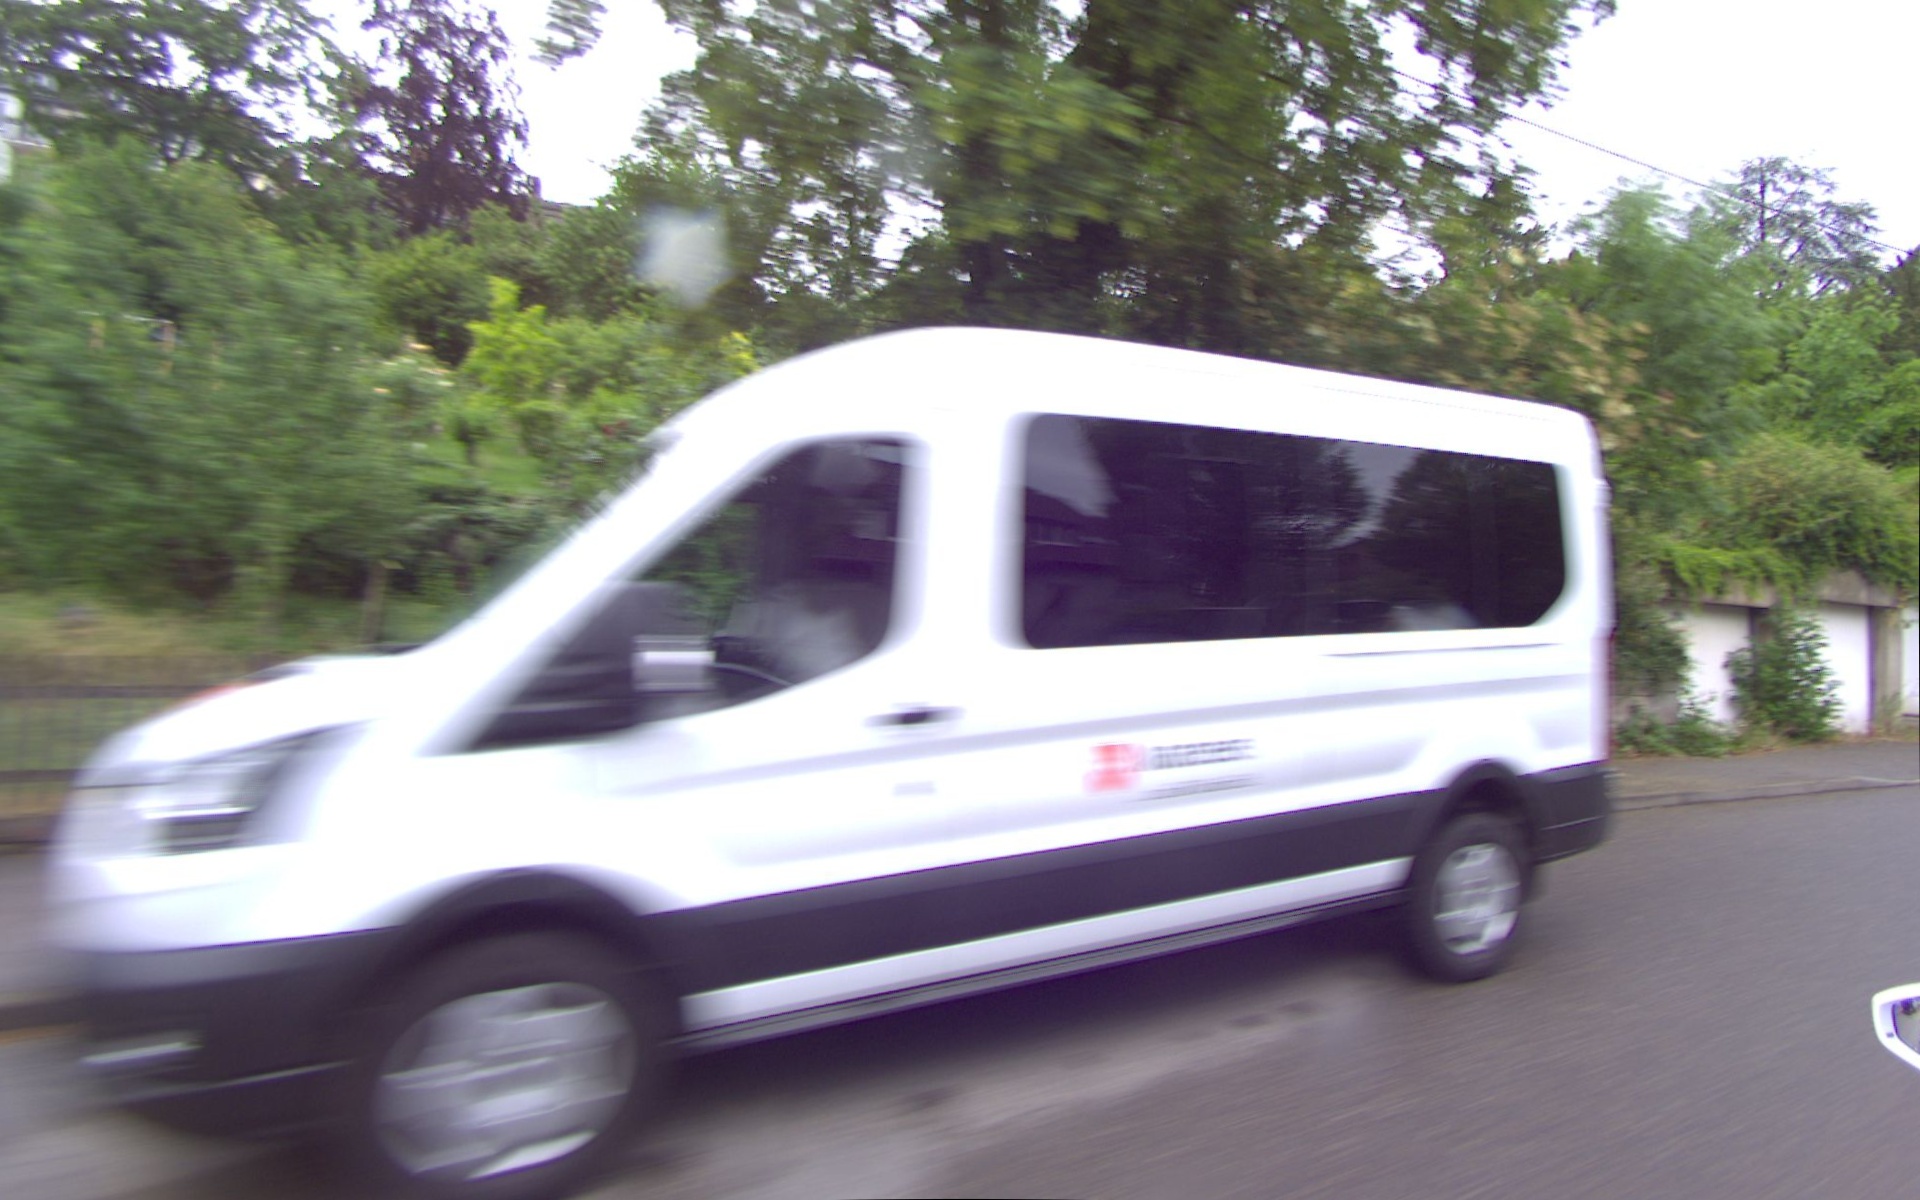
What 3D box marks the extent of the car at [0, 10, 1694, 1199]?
[{"bbox_3d":[0.321,0.254,4.227,6.020,2.584,2.086,1,-1,-28],"label":"car"}]
